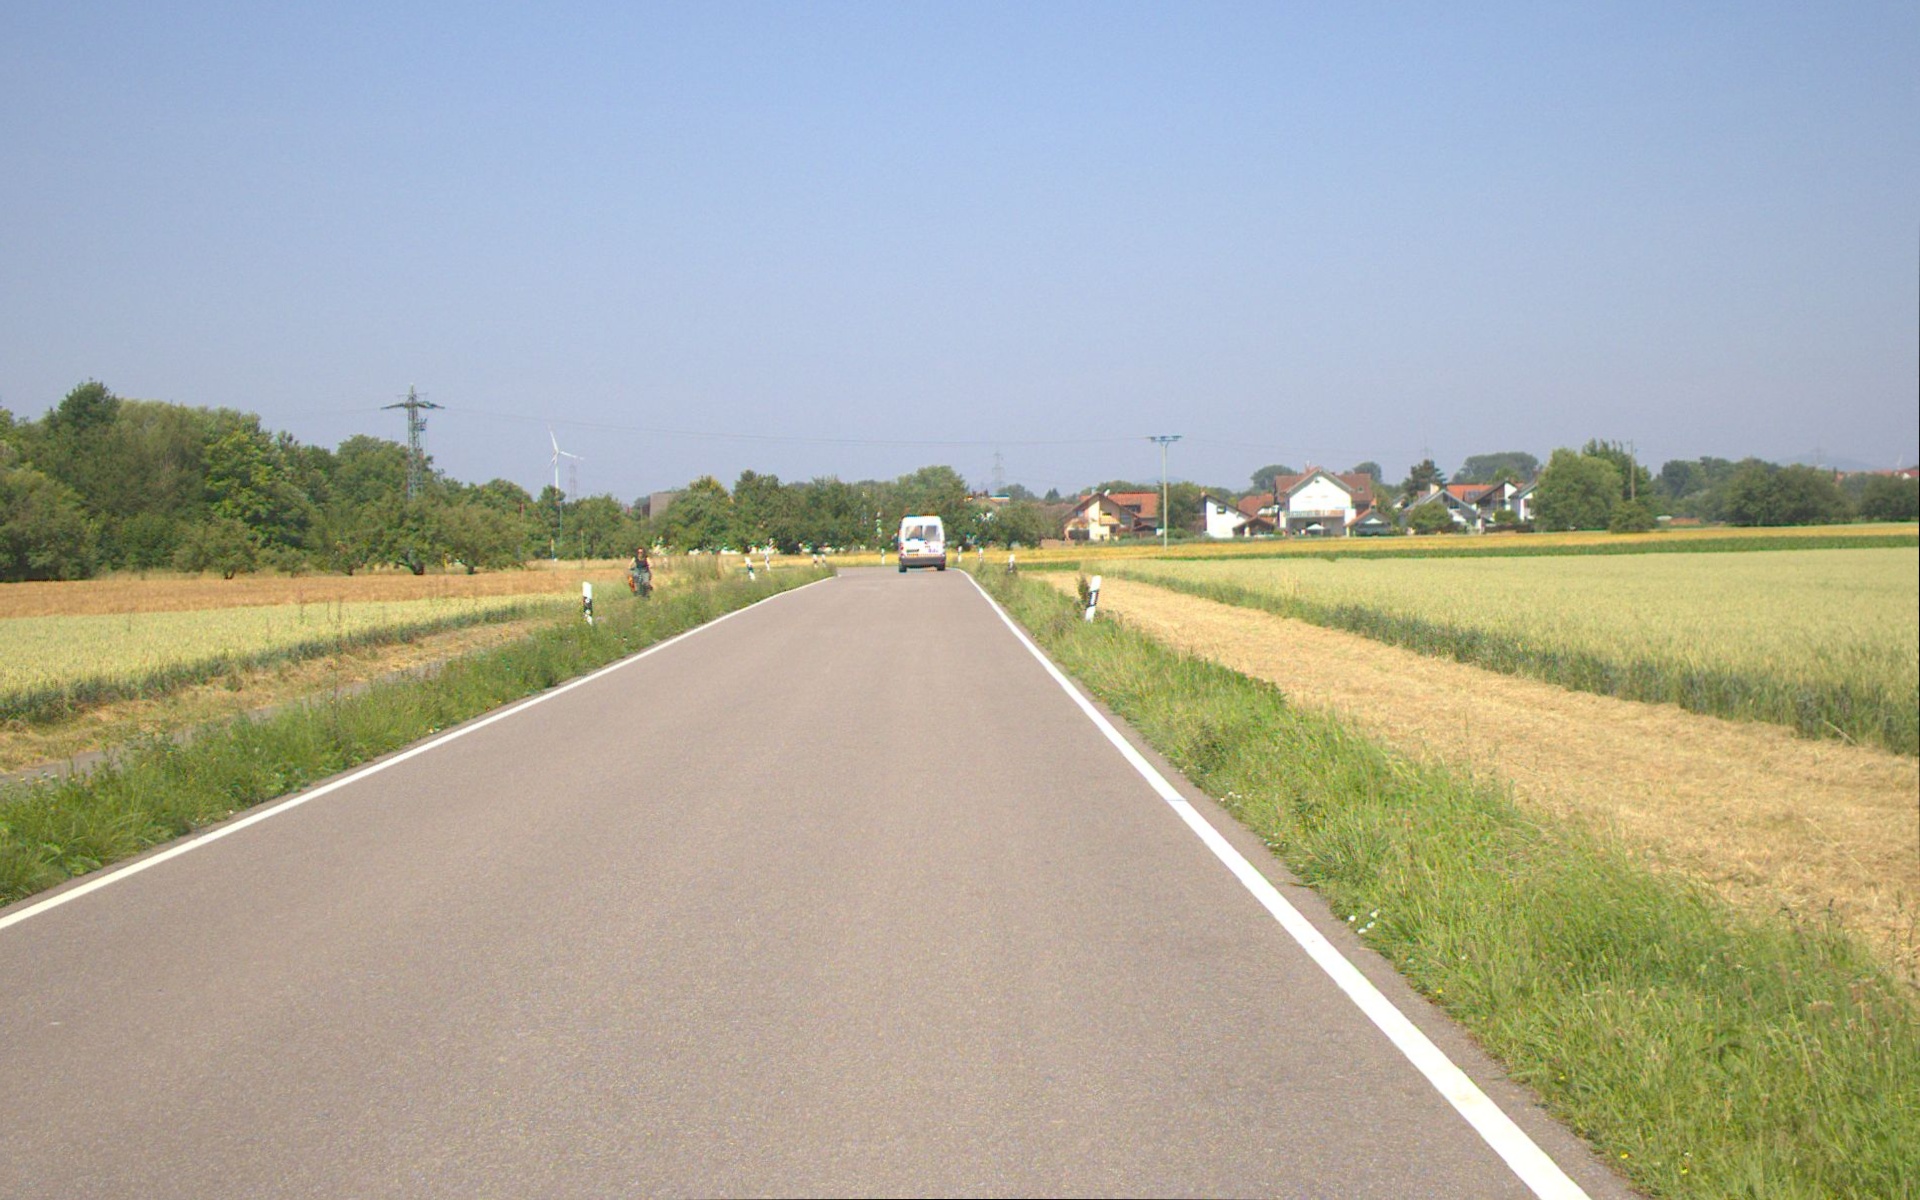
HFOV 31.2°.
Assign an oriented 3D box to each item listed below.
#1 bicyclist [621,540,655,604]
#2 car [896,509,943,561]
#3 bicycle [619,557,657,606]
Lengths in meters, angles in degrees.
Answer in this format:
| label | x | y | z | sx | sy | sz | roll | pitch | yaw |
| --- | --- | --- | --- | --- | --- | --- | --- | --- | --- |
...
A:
| label | x | y | z | sx | sy | sz | roll | pitch | yaw |
| --- | --- | --- | --- | --- | --- | --- | --- | --- | --- |
| bicyclist | -8.621 | -0.753 | 92.137 | 0.760 | 1.667 | 1.088 | -2 | 1 | 0 |
| car | -1.844 | -2.970 | 156.338 | 2.107 | 2.296 | 5.496 | 1 | 1 | -1 |
| bicycle | -8.625 | -0.508 | 92.154 | 0.759 | 1.231 | 2.394 | -3 | 1 | 0 |
